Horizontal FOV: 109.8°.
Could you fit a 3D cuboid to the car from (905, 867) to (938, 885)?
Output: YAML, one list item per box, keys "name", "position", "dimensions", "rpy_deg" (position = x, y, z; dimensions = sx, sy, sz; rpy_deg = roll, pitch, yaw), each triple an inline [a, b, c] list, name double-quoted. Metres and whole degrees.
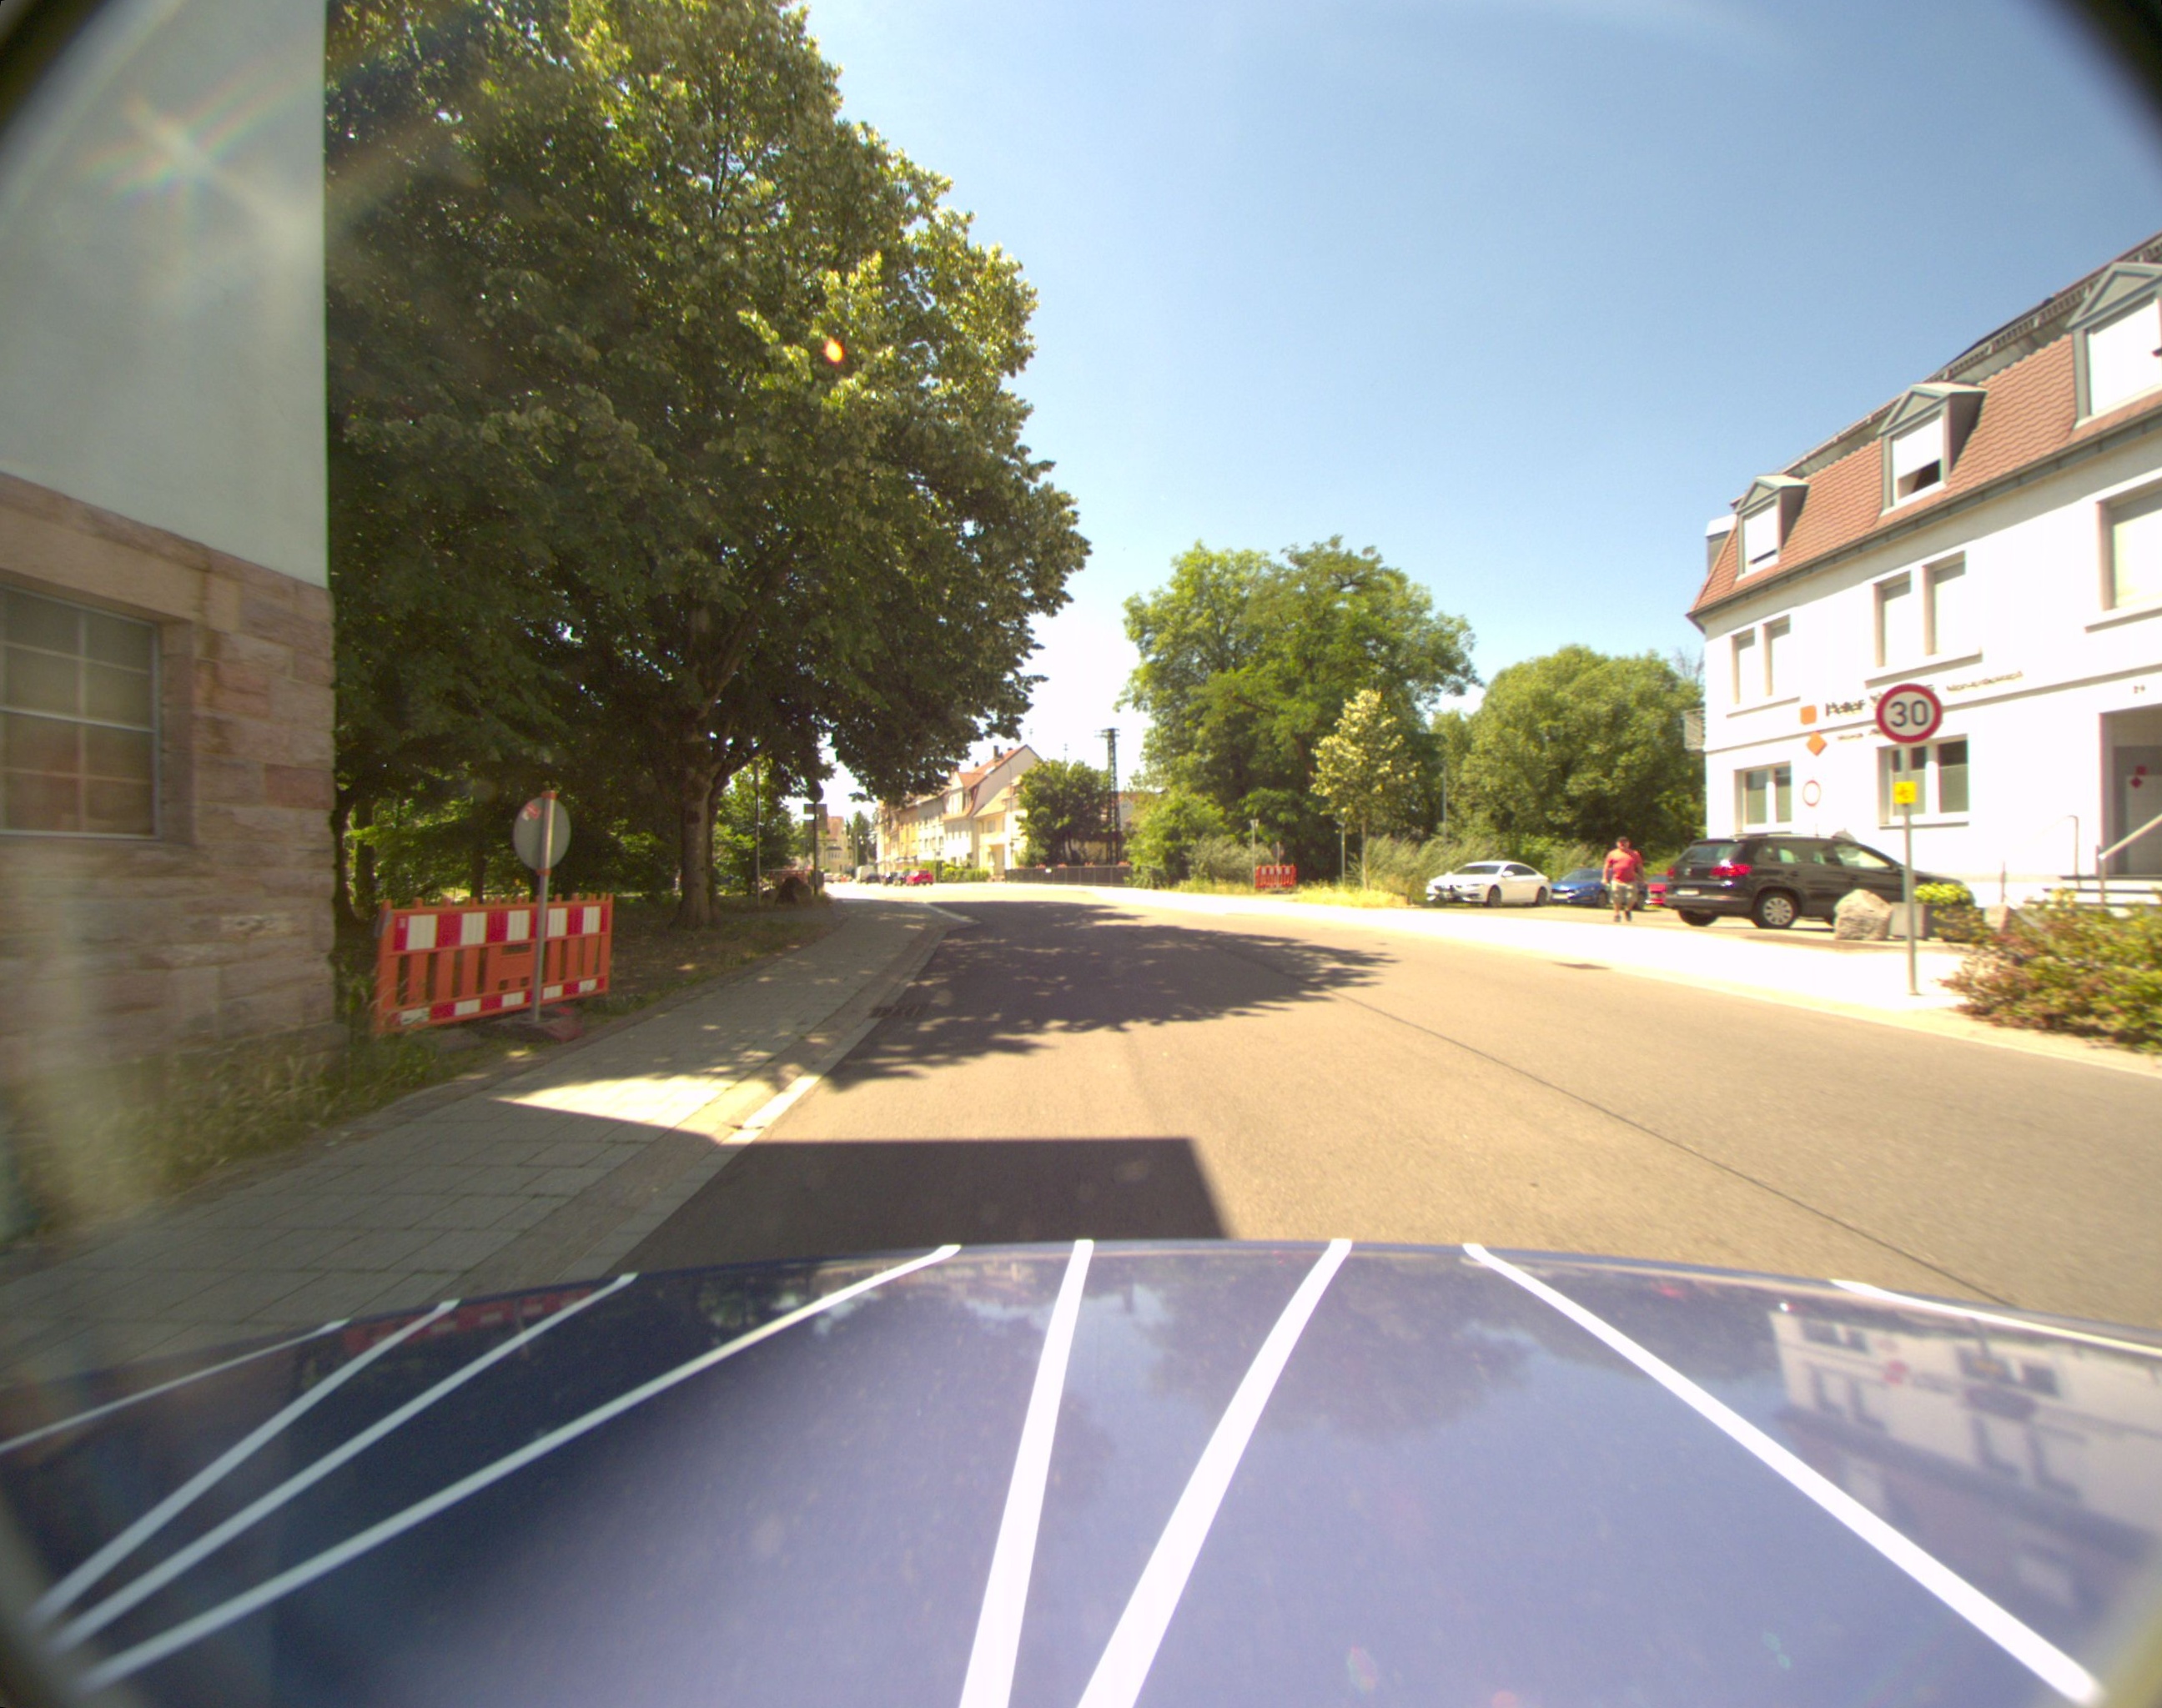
- name: "car"
  position: [-14.445, 1.962, 68.787]
  dimensions: [1.886, 1.471, 4.729]
  rpy_deg: [-4, 0, -24]

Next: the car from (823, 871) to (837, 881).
- name: "car"
  position: [-40.753, 3.657, 123.481]
  dimensions: [1.886, 1.587, 4.352]
  rpy_deg: [1, -2, -22]

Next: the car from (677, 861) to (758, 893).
- name: "car"
  position: [-22.998, 1.424, 48.114]
  dimensions: [4.358, 1.828, 1.746]
  rpy_deg: [-2, 0, -32]

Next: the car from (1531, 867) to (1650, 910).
- name: "car"
  position: [17.915, 1.199, 26.674]
  dimensions: [4.008, 1.337, 1.994]
  rpy_deg: [2, 0, -33]

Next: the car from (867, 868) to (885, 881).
- name: "car"
  position: [-26.656, 2.645, 98.992]
  dimensions: [2.093, 1.605, 5.103]
  rpy_deg: [-2, -1, -15]

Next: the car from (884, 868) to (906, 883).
- name: "car"
  position: [-19.494, 2.232, 79.529]
  dimensions: [1.795, 1.450, 4.191]
  rpy_deg: [-4, -1, -20]

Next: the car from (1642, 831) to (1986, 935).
- name: "car"
  position: [12.689, 0.474, 13.379]
  dimensions: [4.191, 1.652, 1.971]
  rpy_deg: [-1, 0, -1]

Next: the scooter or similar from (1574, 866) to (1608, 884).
- name: "scooter or similar"
  position: [27.590, 1.134, 41.086]
  dimensions: [1.628, 0.919, 0.917]
  rpy_deg: [-1, 0, -30]

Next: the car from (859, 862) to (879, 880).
- name: "car"
  position: [-30.543, 2.492, 109.330]
  dimensions: [2.128, 2.435, 6.108]
  rpy_deg: [-3, 0, -21]

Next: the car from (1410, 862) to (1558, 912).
- name: "car"
  position: [12.544, 0.951, 23.560]
  dimensions: [4.717, 1.348, 1.995]
  rpy_deg: [0, 0, -33]

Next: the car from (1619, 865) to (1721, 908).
- name: "car"
  position: [23.410, 1.229, 30.168]
  dimensions: [4.007, 1.533, 1.995]
  rpy_deg: [-1, 0, -33]

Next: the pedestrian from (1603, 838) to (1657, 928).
- name: "pedestrian"
  position: [10.987, 0.559, 15.211]
  dimensions: [0.739, 1.744, 0.736]
  rpy_deg: [-1, 1, -42]

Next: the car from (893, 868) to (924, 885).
- name: "car"
  position: [-16.868, 2.218, 74.159]
  dimensions: [1.871, 1.453, 5.298]
  rpy_deg: [-3, -1, -24]
